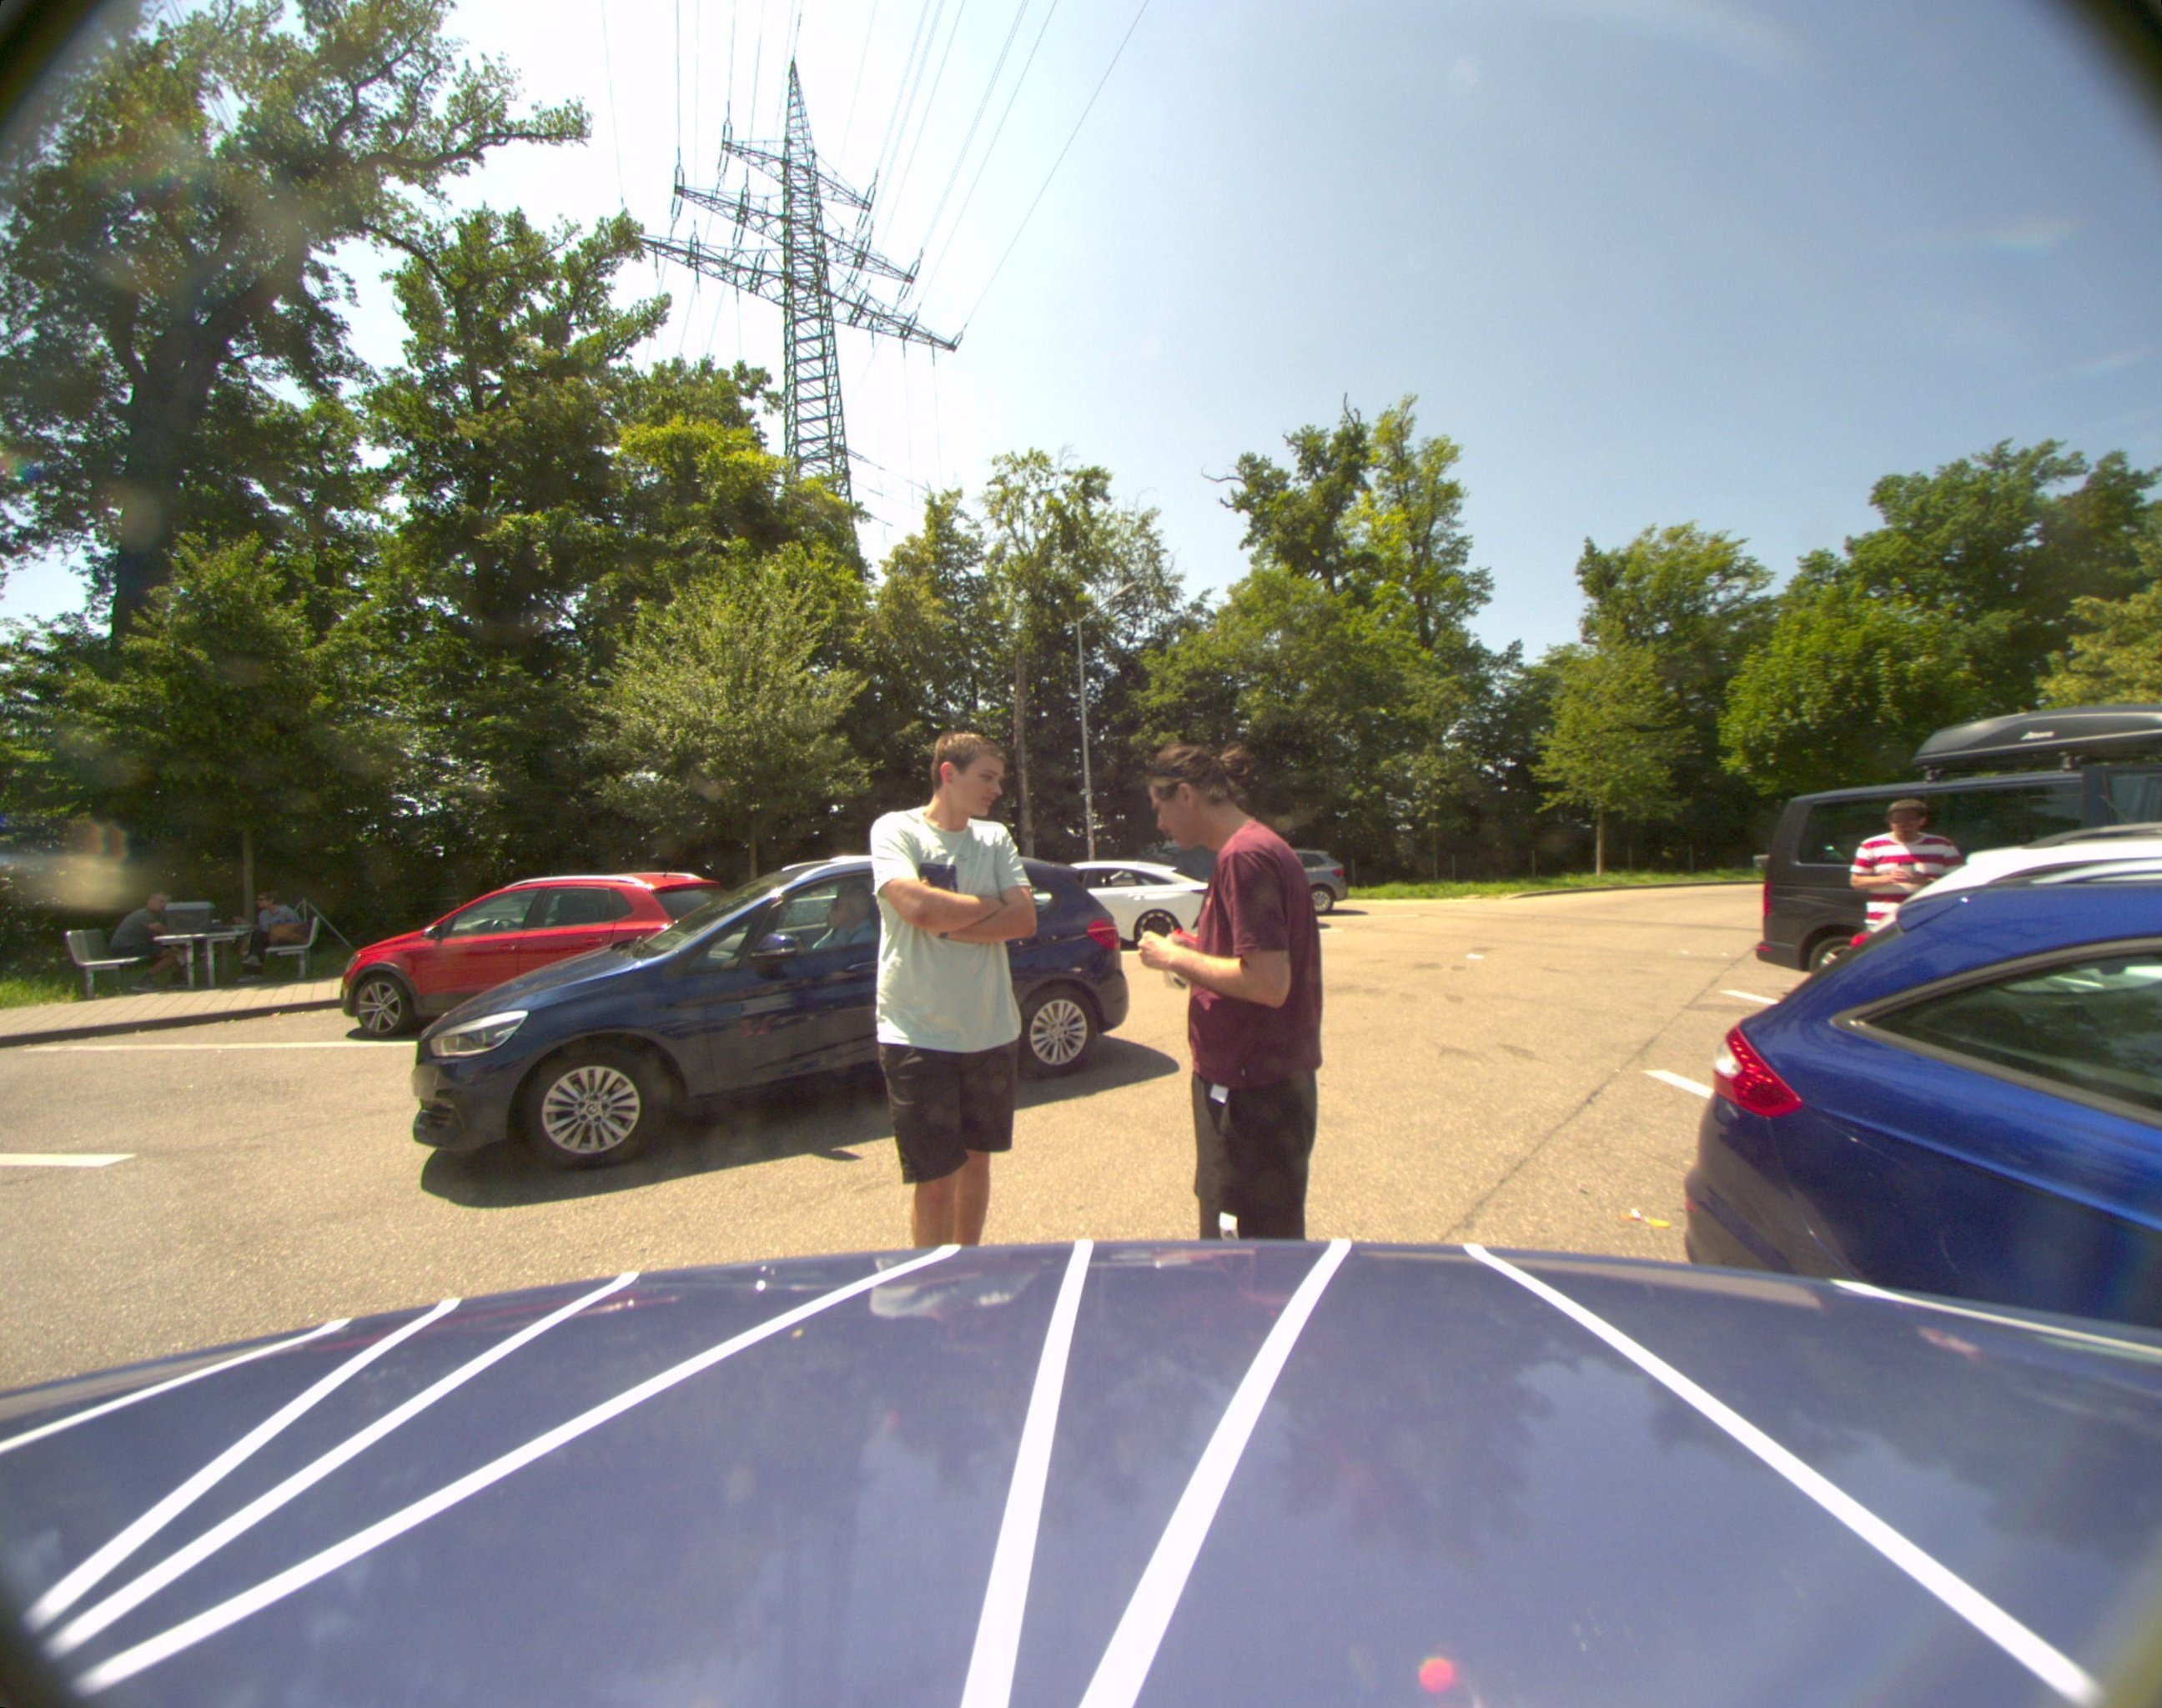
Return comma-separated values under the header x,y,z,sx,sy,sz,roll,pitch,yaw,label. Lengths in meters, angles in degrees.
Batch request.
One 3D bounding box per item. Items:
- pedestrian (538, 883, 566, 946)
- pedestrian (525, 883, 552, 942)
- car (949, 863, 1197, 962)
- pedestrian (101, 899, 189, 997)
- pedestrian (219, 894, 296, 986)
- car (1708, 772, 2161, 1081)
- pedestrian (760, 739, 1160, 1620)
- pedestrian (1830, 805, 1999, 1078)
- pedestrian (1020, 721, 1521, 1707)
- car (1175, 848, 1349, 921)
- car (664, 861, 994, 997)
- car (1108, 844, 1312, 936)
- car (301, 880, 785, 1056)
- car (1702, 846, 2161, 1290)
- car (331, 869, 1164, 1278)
x,y,z,sx,sy,sz,roll,pitch,yaw,label
-10.172,1.154,14.608,0.357,1.158,0.384,-3,2,-41,pedestrian
-11.016,1.177,15.423,0.357,1.158,0.384,-3,2,-41,pedestrian
-0.082,0.929,12.660,3.825,1.394,1.651,-2,1,4,car
-12.735,1.259,10.357,0.595,1.238,0.446,-3,1,-33,pedestrian
-11.869,1.219,10.971,0.595,1.238,0.499,-3,1,-33,pedestrian
7.368,0.415,5.270,1.758,1.886,4.571,-3,-1,-9,car
-0.404,0.710,2.257,0.815,1.939,0.918,-3,1,-31,pedestrian
5.870,0.552,5.369,0.786,1.744,0.753,-3,2,-41,pedestrian
0.462,0.712,1.915,0.919,1.894,0.815,-2,1,16,pedestrian
4.258,0.705,18.138,3.822,1.551,1.652,-2,1,12,car
-3.257,0.956,10.285,3.825,1.546,1.651,-2,1,4,car
2.599,0.708,15.442,3.822,1.686,1.652,-2,1,12,car
-5.238,1.083,7.655,3.823,1.460,1.651,-2,1,8,car
4.640,0.728,2.238,1.757,1.496,4.574,-3,-1,-1,car
-1.721,0.957,5.071,4.351,1.544,1.744,-2,1,-32,car
